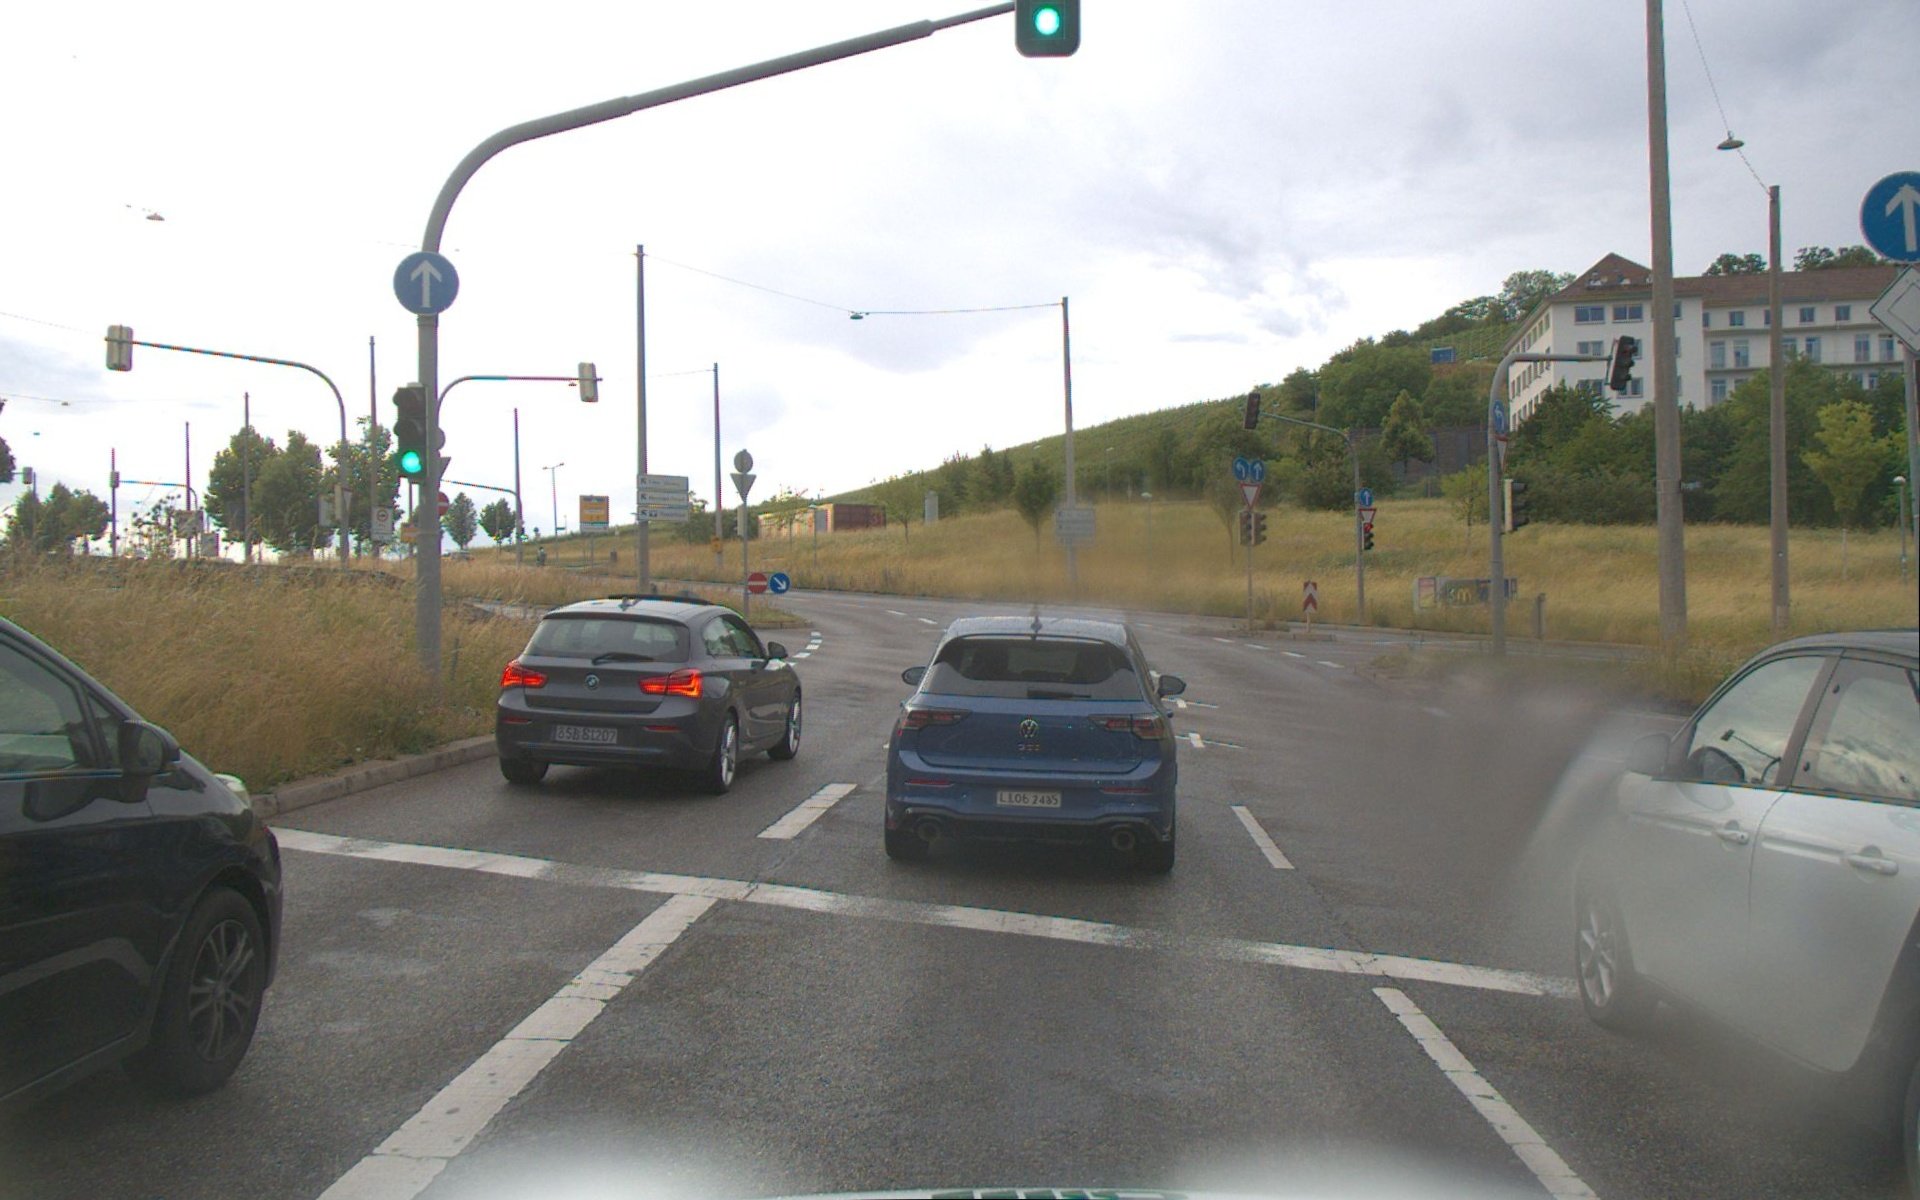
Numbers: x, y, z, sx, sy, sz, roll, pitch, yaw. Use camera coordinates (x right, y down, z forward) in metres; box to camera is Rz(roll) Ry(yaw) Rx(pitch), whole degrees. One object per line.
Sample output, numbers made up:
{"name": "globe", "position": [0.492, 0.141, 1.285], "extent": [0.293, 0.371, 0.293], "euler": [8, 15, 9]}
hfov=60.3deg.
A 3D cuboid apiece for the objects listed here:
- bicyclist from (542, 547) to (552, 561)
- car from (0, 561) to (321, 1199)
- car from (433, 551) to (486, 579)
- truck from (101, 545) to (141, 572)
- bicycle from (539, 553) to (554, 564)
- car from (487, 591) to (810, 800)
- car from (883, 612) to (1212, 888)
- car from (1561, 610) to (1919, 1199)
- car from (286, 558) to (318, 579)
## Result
{"name": "bicyclist", "position": [-30.926, -3.442, 123.831], "extent": [0.519, 1.065, 0.573], "euler": [4, -1, -35]}
{"name": "car", "position": [-3.004, 0.664, 3.650], "extent": [1.608, 1.531, 3.779], "euler": [1, 0, 2]}
{"name": "car", "position": [-31.103, -2.168, 102.694], "extent": [1.974, 1.646, 4.798], "euler": [2, 0, -32]}
{"name": "truck", "position": [-106.844, -5.305, 210.480], "extent": [3.236, 3.128, 6.091], "euler": [4, -1, -39]}
{"name": "bicycle", "position": [-30.978, -3.111, 123.896], "extent": [0.513, 0.788, 1.602], "euler": [2, 0, -34]}
{"name": "car", "position": [-2.426, 0.685, 13.902], "extent": [1.667, 1.485, 4.116], "euler": [0, 0, 4]}
{"name": "car", "position": [0.601, 0.827, 10.941], "extent": [1.787, 1.486, 3.810], "euler": [0, 0, 4]}
{"name": "car", "position": [3.208, 0.819, 5.025], "extent": [1.623, 1.529, 3.451], "euler": [1, -1, 2]}
{"name": "car", "position": [-57.328, -2.784, 144.050], "extent": [1.972, 1.665, 4.377], "euler": [3, 0, -30]}
